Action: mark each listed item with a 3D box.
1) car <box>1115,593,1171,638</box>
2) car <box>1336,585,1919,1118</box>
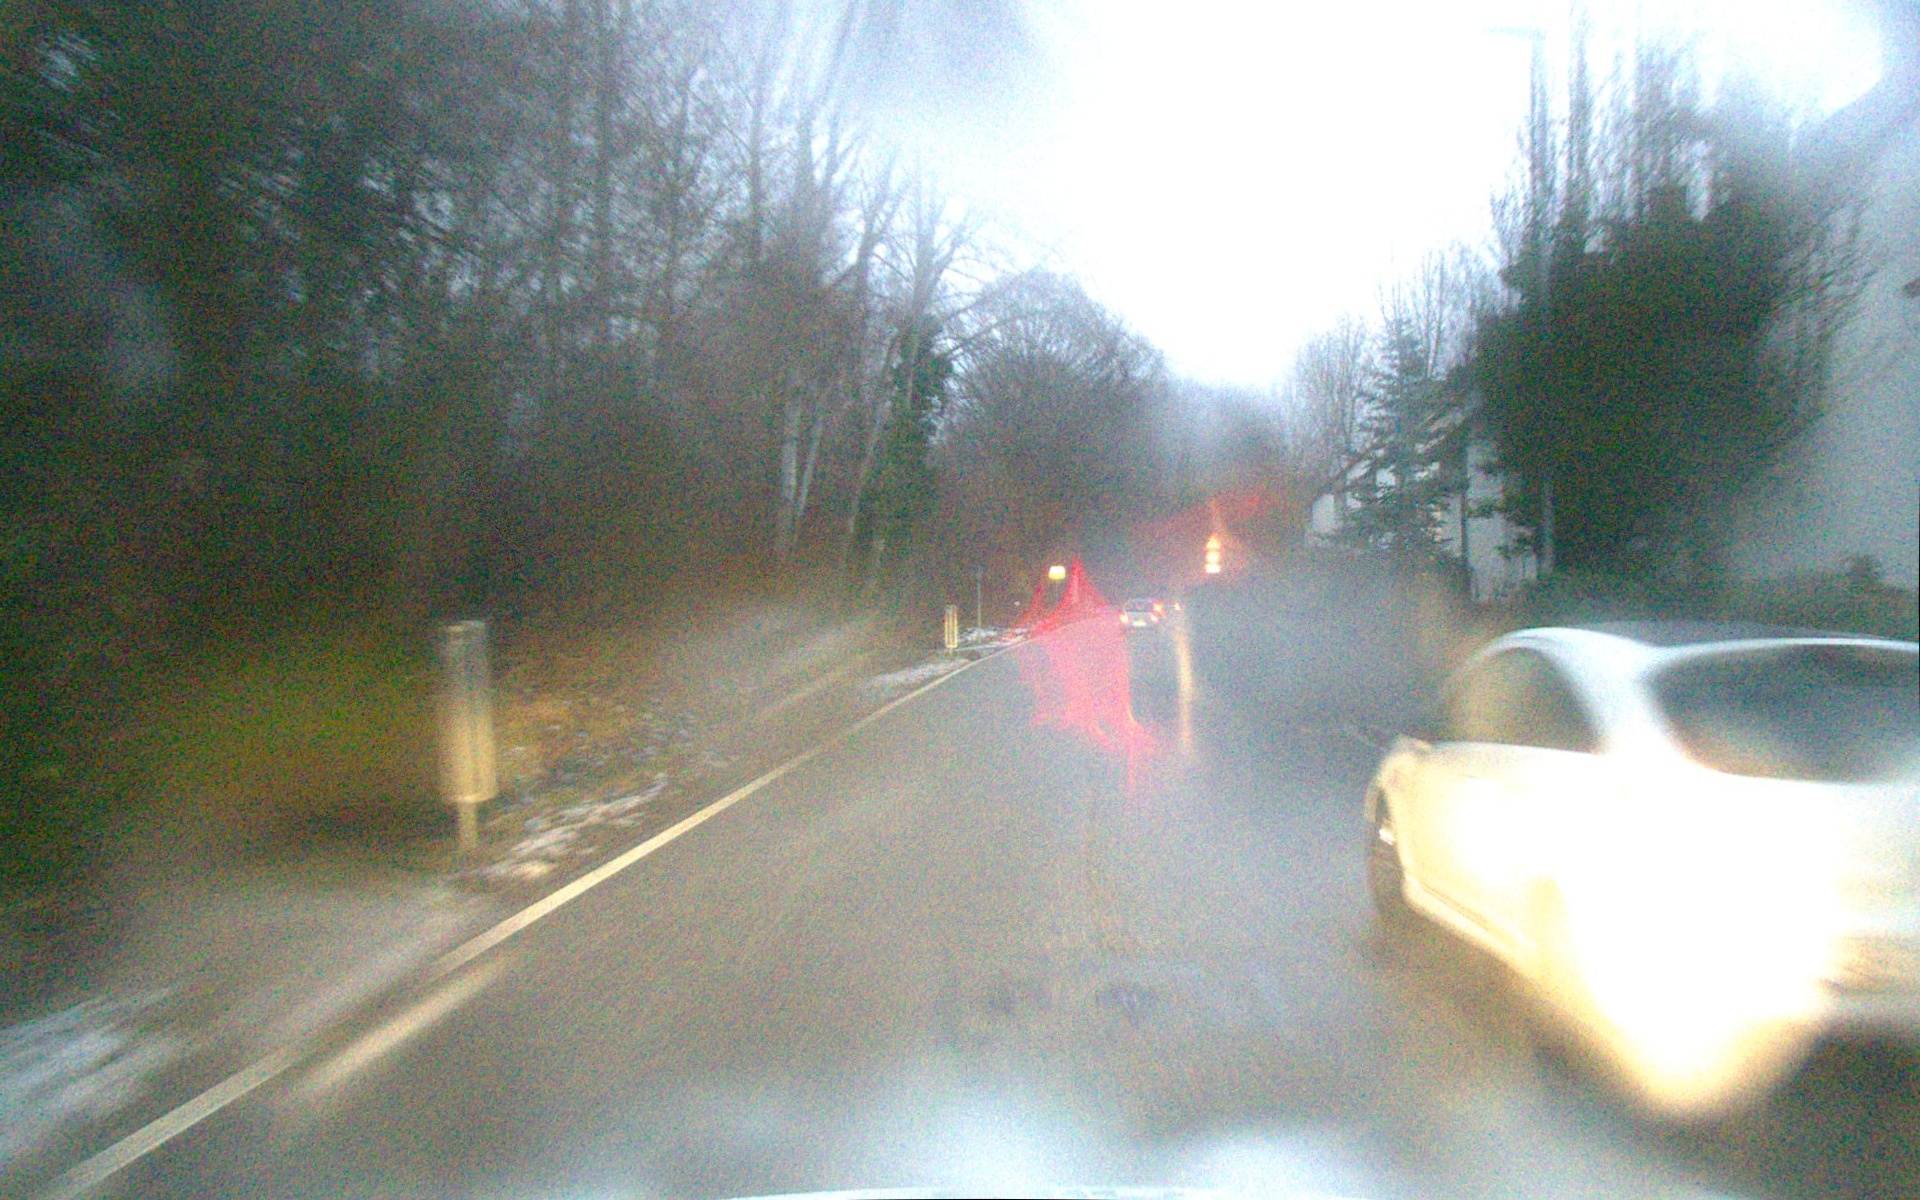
[{"bbox_3d":[7.629,0.612,68.604,1.891,1.812,4.003,0,0,13],"label":"car"},{"bbox_3d":[2.831,0.755,6.827,1.669,1.532,4.025,1,0,1],"label":"car"}]
